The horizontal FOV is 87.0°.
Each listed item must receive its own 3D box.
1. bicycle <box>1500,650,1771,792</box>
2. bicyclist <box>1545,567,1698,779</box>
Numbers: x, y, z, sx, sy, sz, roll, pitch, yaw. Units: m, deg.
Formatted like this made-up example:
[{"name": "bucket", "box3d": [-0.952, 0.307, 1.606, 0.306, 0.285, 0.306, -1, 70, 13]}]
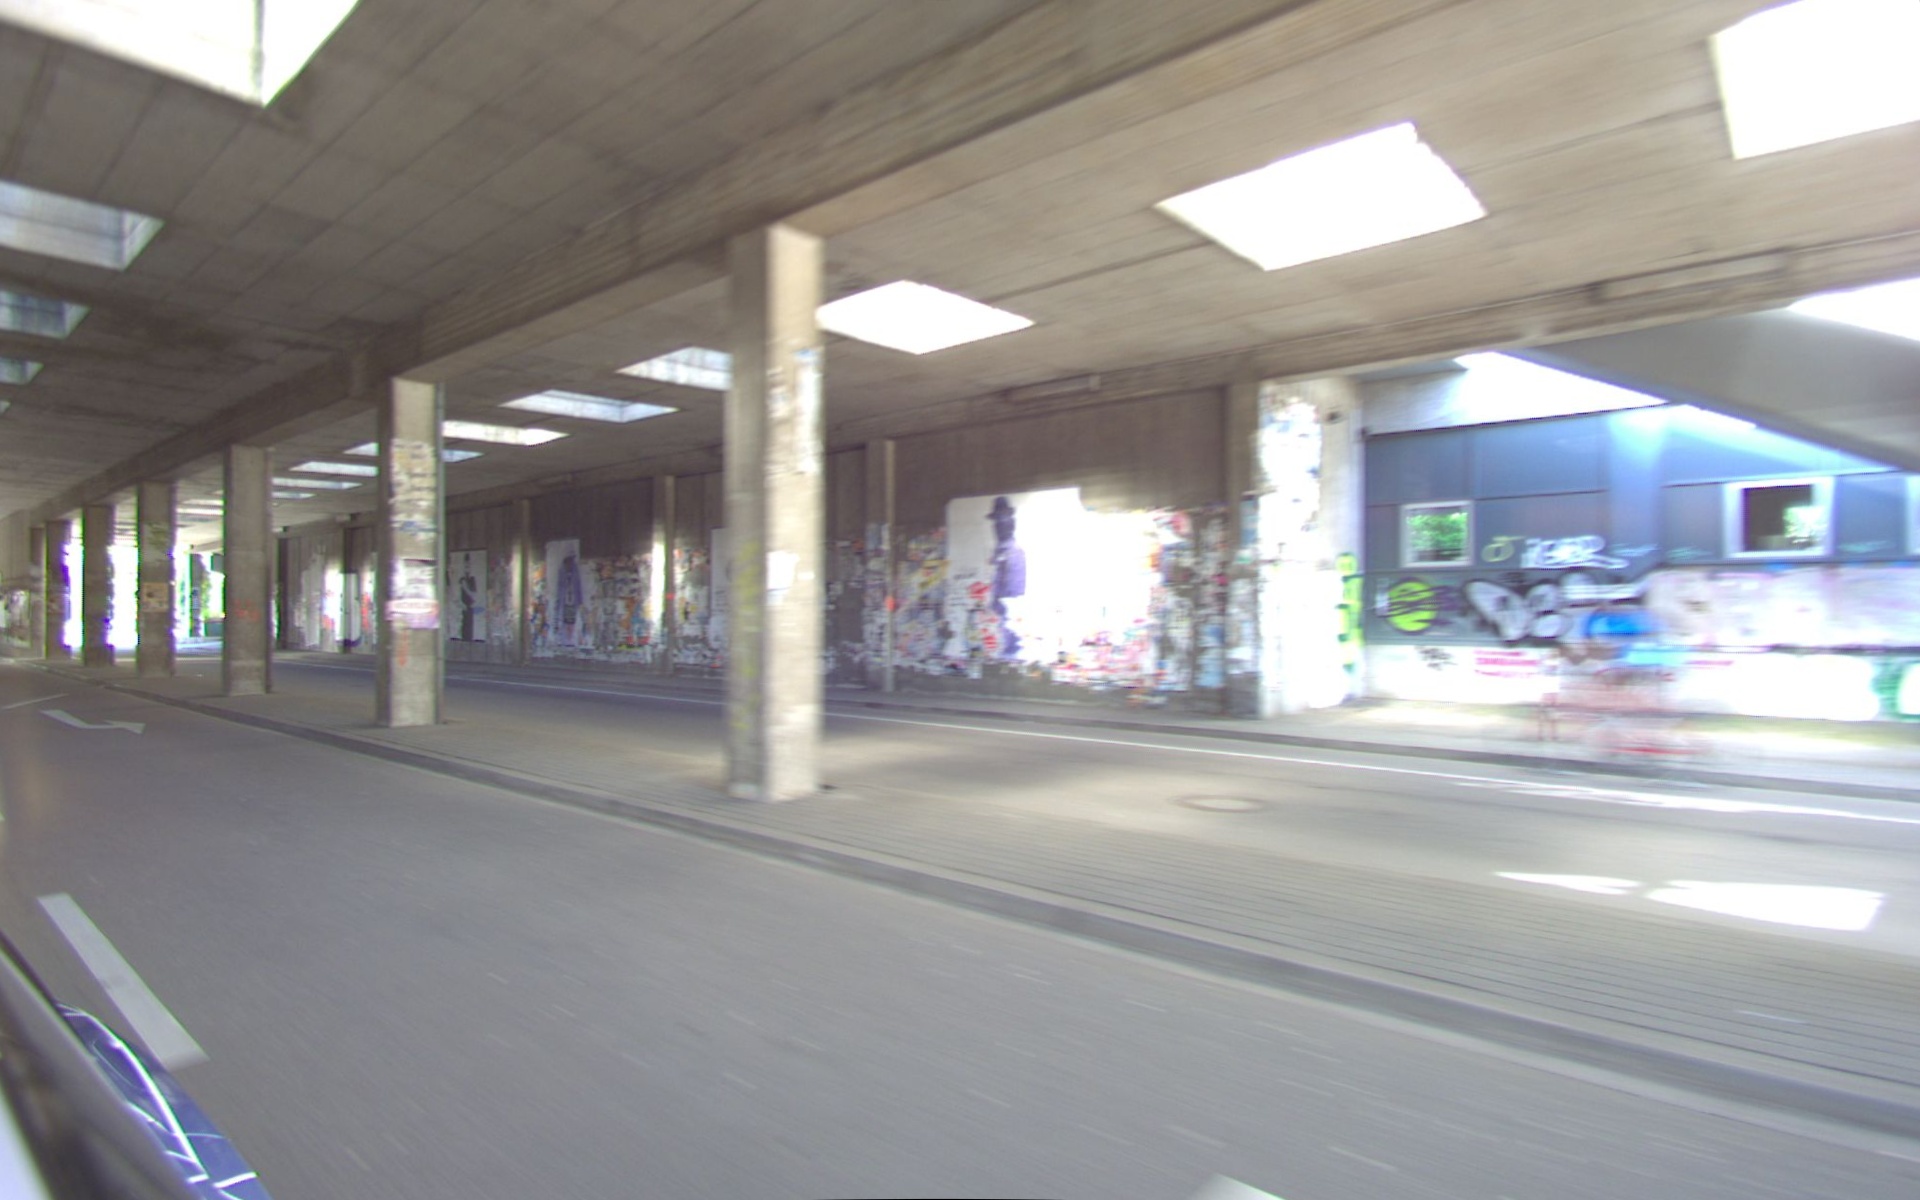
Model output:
[{"name": "bicycle", "box3d": [5.857, 1.010, 8.855, 1.859, 1.098, 0.691, -4, -4, 41]}, {"name": "bicyclist", "box3d": [5.798, 0.622, 8.882, 0.966, 1.725, 0.738, -4, -3, 41]}]
